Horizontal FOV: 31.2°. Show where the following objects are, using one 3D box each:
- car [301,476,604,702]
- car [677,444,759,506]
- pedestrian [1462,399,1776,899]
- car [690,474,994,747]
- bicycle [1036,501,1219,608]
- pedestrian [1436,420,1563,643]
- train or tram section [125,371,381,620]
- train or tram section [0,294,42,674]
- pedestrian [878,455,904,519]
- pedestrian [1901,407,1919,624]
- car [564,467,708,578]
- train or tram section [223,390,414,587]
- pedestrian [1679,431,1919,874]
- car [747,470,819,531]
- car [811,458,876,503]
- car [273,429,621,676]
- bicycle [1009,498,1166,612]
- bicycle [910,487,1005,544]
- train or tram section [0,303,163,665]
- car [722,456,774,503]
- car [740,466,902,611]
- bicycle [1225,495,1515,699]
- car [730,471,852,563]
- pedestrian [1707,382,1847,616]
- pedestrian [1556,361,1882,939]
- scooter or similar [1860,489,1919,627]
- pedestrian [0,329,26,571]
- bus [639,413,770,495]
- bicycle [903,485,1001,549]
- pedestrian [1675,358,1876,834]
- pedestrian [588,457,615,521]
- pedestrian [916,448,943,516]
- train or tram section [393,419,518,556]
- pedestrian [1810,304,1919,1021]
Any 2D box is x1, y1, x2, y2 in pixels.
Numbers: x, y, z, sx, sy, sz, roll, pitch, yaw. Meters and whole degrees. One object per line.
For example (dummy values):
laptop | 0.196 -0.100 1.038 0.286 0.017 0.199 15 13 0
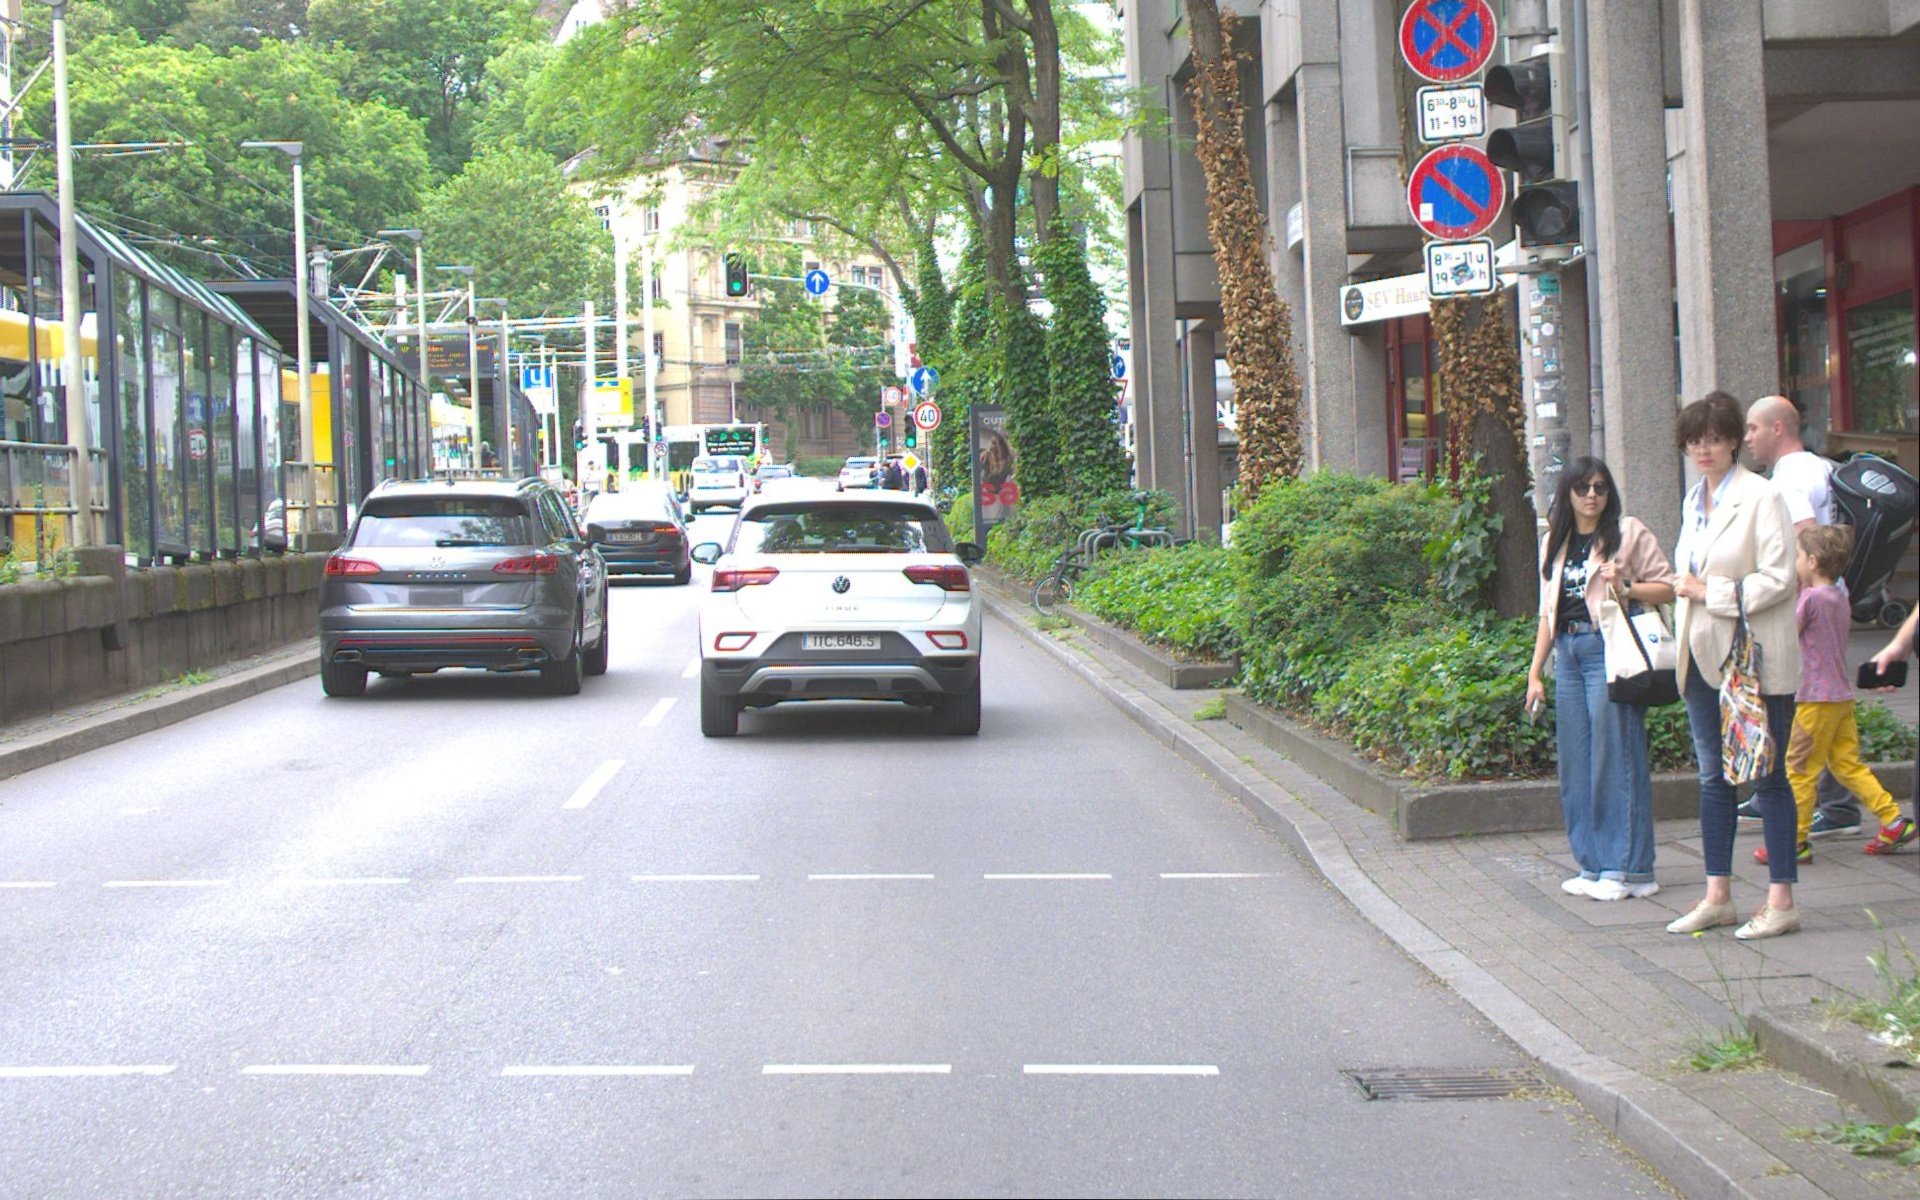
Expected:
car | -3.939 -0.152 27.316 1.993 1.630 4.001 -1 2 -3
car | -8.328 -4.292 118.660 2.365 2.007 5.148 0 0 1
pedestrian | 2.354 0.161 12.364 0.835 1.698 0.764 -3 1 -6
car | -0.836 -0.014 22.896 1.837 1.578 4.158 0 3 -3
bicycle | 1.864 -0.512 38.302 1.915 1.073 0.613 -4 1 -5
pedestrian | 4.450 -0.577 28.397 0.762 1.776 0.848 -3 4 -7
train or tram section | -10.989 -1.621 54.071 2.813 3.654 6.752 0 1 -2
train or tram section | -10.230 -1.030 30.372 2.835 3.509 5.752 0 1 -2
pedestrian | -2.177 -3.587 109.154 0.762 2.007 0.838 0 0 3
pedestrian | 7.984 -0.682 27.442 0.762 1.717 0.677 0 2 0
car | -5.071 -1.254 54.286 1.912 1.683 4.001 0 2 0
train or tram section | -12.457 -2.165 67.309 2.813 3.654 6.752 0 1 -3
pedestrian | 3.147 0.179 12.503 0.835 1.557 0.764 0 0 -6
car | -5.170 -2.894 100.807 1.885 1.678 4.161 0 0 0
car | -4.632 -4.746 136.467 1.884 1.678 4.162 0 0 -12
car | -4.452 -0.412 30.712 2.364 2.007 5.148 0 0 0
bicycle | 1.370 -0.486 37.066 1.620 1.124 0.613 -3 1 2
bicycle | -0.047 -1.730 70.491 1.881 1.133 0.808 0 0 4
train or tram section | -10.395 -1.188 36.151 2.835 3.509 5.752 0 1 -2
car | -8.208 -4.656 133.137 1.884 1.678 4.161 0 0 -2
car | -1.720 -0.735 42.245 1.884 1.678 4.162 0 0 -3
bicycle | 2.599 -0.026 21.804 1.707 1.180 0.449 -4 1 -9
car | -3.236 -1.548 65.125 1.884 1.678 4.162 0 0 -9
pedestrian | 6.515 -0.802 27.438 0.831 1.797 0.723 -3 1 -2
pedestrian | 2.467 0.152 11.234 0.693 1.771 0.690 -6 1 -6
scooter or similar | 7.887 -0.359 28.303 0.856 1.106 0.764 -3 0 14
pedestrian | -7.208 -1.072 24.878 0.717 1.725 0.671 0 0 -1
bus | -11.067 -6.173 147.487 3.371 3.054 13.328 0 0 -14
bicycle | -0.156 -1.658 68.995 1.881 1.262 0.764 0 0 9
pedestrian | 3.137 -0.019 13.268 0.518 1.783 0.764 0 0 -6
pedestrian | -11.480 -3.552 110.103 0.762 2.007 0.838 0 0 -2
pedestrian | -0.920 -3.559 103.804 0.762 2.007 0.838 0 0 3
train or tram section | -13.896 -3.086 95.172 2.813 3.654 6.752 0 1 -3
pedestrian | 2.812 0.154 9.343 0.733 1.868 0.733 -1 0 -6
